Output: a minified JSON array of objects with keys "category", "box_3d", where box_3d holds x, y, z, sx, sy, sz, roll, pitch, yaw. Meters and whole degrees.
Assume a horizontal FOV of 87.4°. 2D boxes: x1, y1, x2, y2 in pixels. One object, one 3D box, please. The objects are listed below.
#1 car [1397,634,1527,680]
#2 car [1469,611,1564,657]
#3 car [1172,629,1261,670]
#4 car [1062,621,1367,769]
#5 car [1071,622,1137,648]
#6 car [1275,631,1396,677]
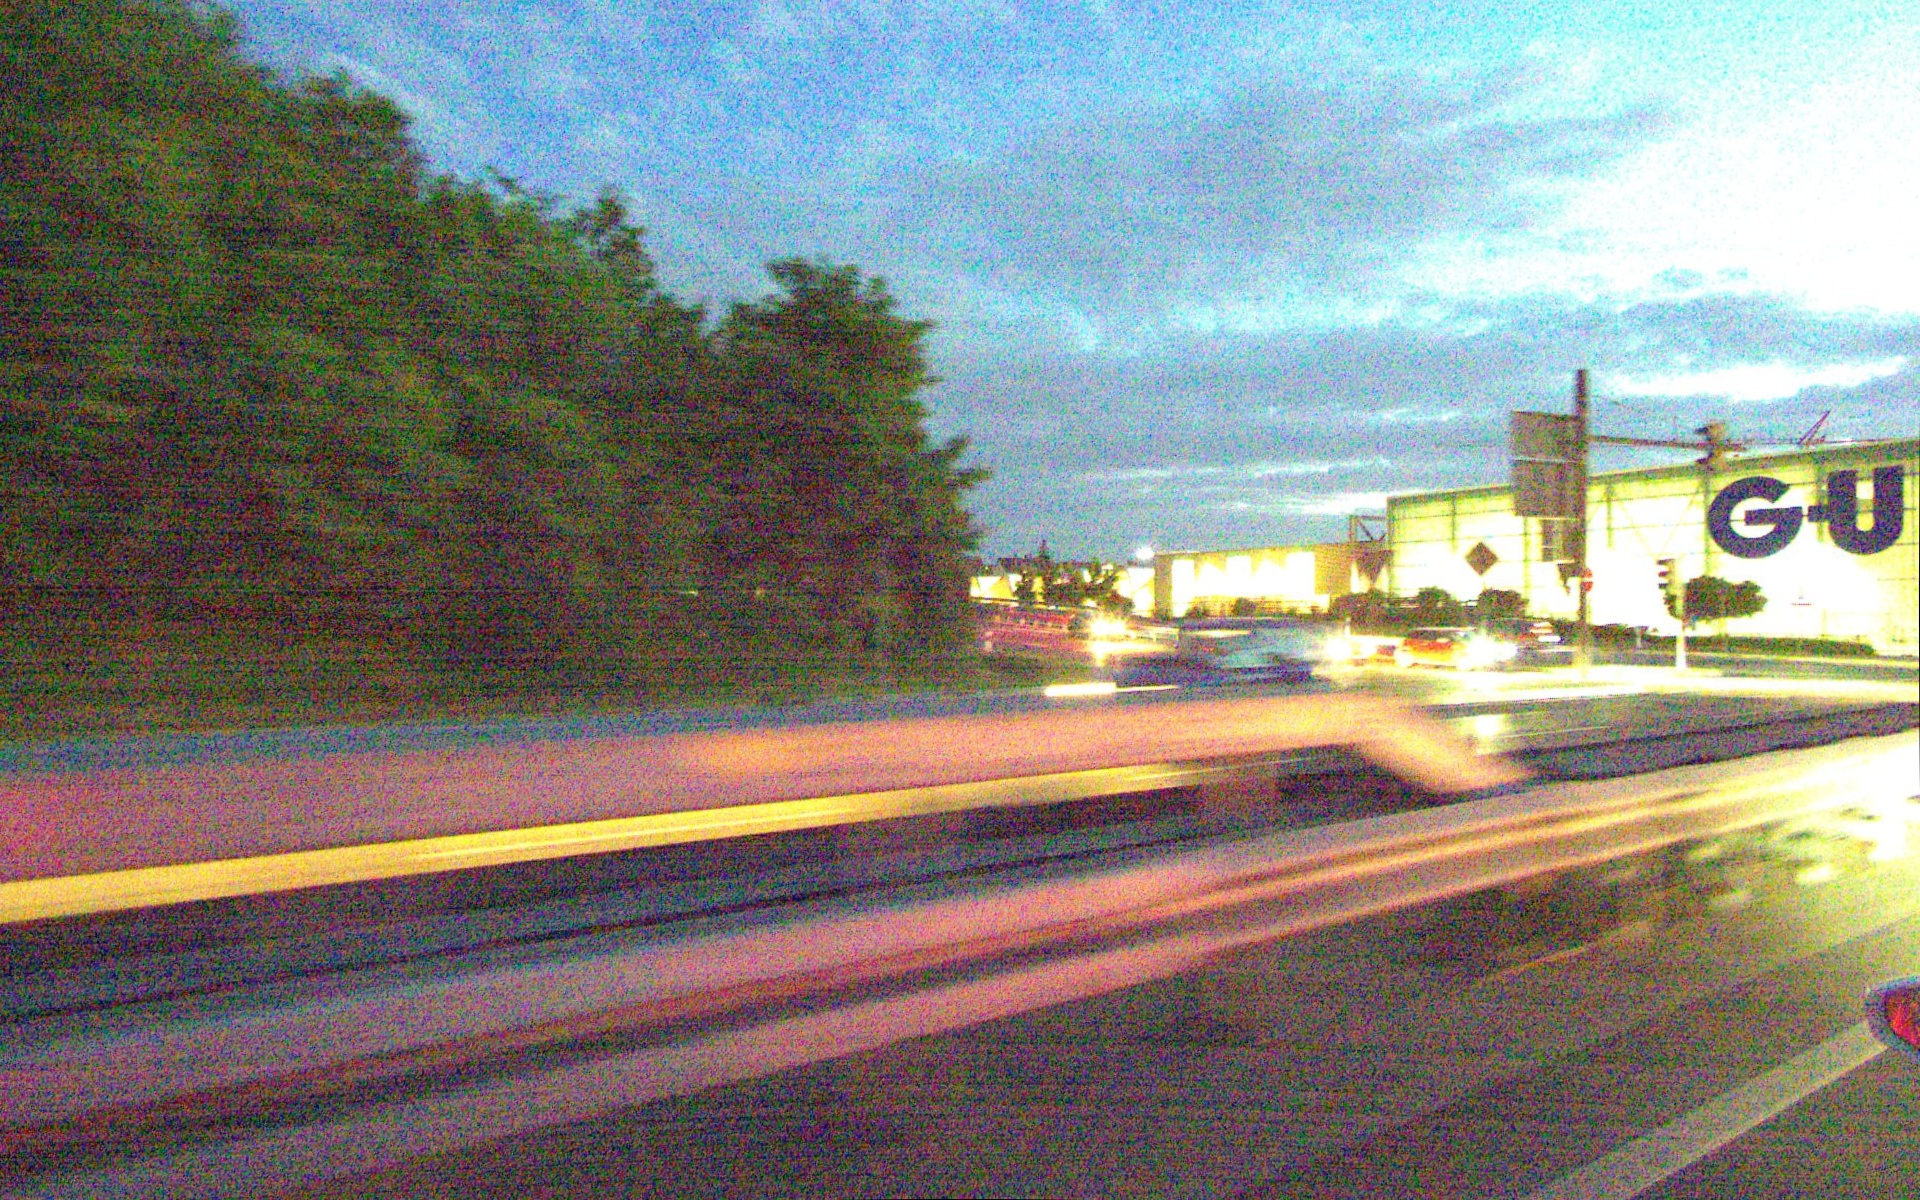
[{"category":"car","box_3d":[17.285,1.938,34.748,1.681,1.494,3.848,2,-3,-24]},{"category":"car","box_3d":[27.069,1.632,48.923,3.929,2.040,1.996,2,0,30]},{"category":"car","box_3d":[10.501,2.005,41.357,1.664,1.479,3.792,-1,0,-22]},{"category":"car","box_3d":[3.092,1.046,12.076,3.475,1.539,1.538,1,-3,-31]},{"category":"car","box_3d":[8.168,1.964,57.396,1.971,1.416,3.978,0,-1,-23]},{"category":"car","box_3d":[13.016,1.849,35.090,1.735,1.479,3.979,2,-2,-22]}]
